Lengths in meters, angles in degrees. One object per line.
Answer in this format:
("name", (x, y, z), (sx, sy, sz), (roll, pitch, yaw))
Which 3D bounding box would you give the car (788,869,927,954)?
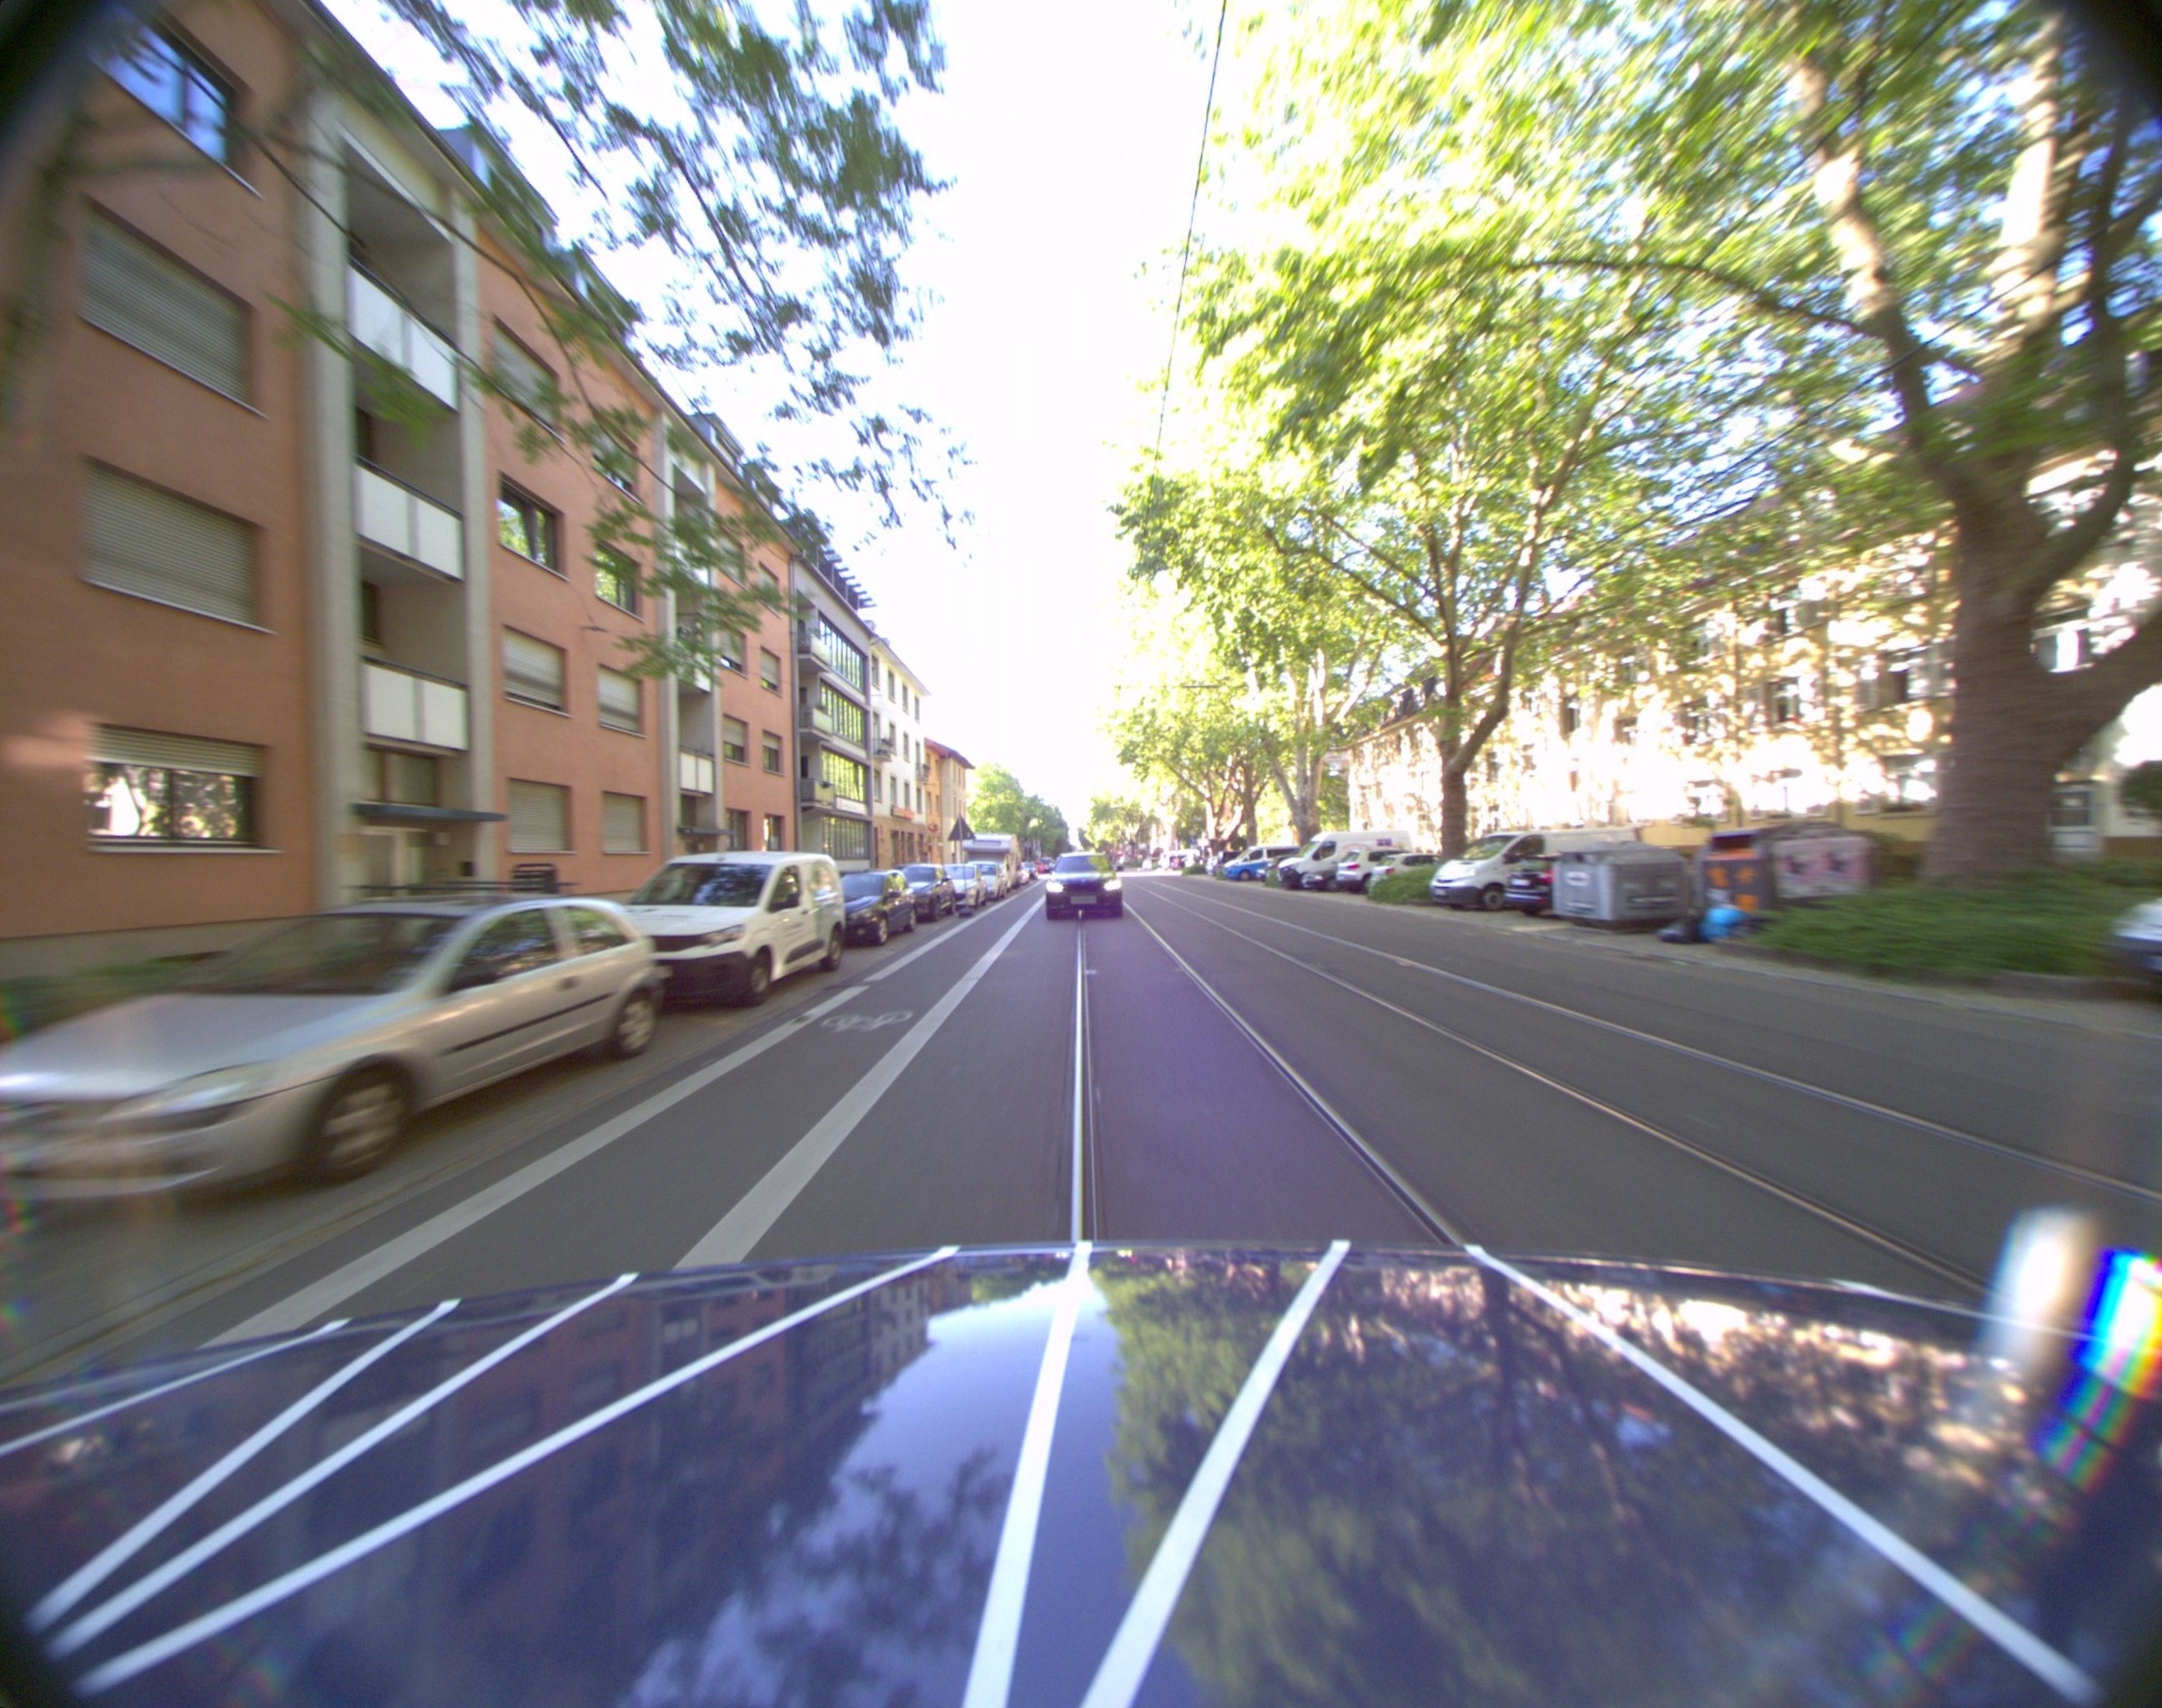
("car", (-4.587, 1.108, 16.245), (1.710, 1.464, 4.168), (-1, 0, 0))

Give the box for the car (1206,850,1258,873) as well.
("car", (11.605, 0.567, 58.531), (3.689, 1.545, 1.704), (-2, 0, 6))

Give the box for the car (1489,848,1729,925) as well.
("car", (11.215, 0.655, 16.363), (3.857, 1.489, 1.862), (-1, 0, 1))

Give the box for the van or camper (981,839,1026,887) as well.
("van or camper", (-4.466, 0.490, 44.513), (2.138, 2.647, 4.979), (0, 0, 0))

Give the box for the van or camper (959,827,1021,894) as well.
("van or camper", (-4.431, 0.291, 38.064), (2.468, 3.046, 6.267), (0, 0, -1))

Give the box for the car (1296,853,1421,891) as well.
("car", (10.839, 0.689, 29.882), (4.275, 1.390, 1.753), (-1, 0, 1))

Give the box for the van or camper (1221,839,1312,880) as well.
("van or camper", (10.972, 0.328, 45.143), (4.832, 2.177, 2.119), (-2, 0, -1))

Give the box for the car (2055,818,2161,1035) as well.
("car", (10.826, 0.510, 5.967), (4.210, 1.747, 1.739), (-2, 0, -2))

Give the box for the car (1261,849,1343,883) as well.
("car", (11.304, 0.617, 39.024), (3.691, 1.556, 1.613), (-2, 0, 2))

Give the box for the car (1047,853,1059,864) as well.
("car", (-4.638, 0.717, 127.550), (1.815, 1.701, 4.372), (0, 0, 0))

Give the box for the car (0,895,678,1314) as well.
("car", (-4.624, 1.131, 5.061), (1.710, 1.464, 4.000), (-1, 0, 0))

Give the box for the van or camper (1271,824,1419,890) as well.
("van or camper", (11.156, 0.117, 32.491), (5.403, 2.501, 2.444), (-2, 0, 0))

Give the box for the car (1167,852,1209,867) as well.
("car", (11.616, 0.624, 82.418), (4.171, 1.506, 1.925), (-2, 0, -1))

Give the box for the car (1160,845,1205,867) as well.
("car", (12.141, 0.290, 90.936), (5.019, 2.383, 2.028), (-2, 0, -1))

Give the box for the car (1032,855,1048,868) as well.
("car", (-4.722, 0.857, 87.669), (1.607, 1.372, 3.864), (0, 0, 0))

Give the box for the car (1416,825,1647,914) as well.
("car", (11.208, 0.368, 19.124), (4.670, 1.934, 1.961), (-2, 0, -3))

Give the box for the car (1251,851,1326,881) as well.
("car", (11.274, 0.645, 41.395), (3.540, 1.451, 1.695), (-2, 0, -6))

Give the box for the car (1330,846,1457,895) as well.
("car", (11.315, 0.595, 27.686), (3.857, 1.653, 1.862), (-1, 0, 1))

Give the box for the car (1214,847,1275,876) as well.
("car", (11.071, 0.491, 51.592), (3.691, 1.804, 1.704), (-2, 0, 0))

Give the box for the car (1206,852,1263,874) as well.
("car", (11.303, 0.633, 56.088), (3.693, 1.477, 1.701), (-2, 0, -6))

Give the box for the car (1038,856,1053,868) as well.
("car", (-4.454, 1.023, 96.827), (1.694, 1.478, 4.143), (0, 0, 0))

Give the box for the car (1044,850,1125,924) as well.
("car", (0.084, 0.802, 21.041), (1.924, 1.741, 4.806), (-2, 0, 0))

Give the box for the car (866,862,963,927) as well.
("car", (-4.535, 1.039, 21.304), (1.772, 1.563, 4.336), (0, 0, 0))

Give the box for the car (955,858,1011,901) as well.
("car", (-4.008, 1.005, 31.660), (1.797, 1.618, 4.276), (0, 0, 0))

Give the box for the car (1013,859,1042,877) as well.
("car", (-4.240, 1.120, 61.122), (1.998, 1.372, 4.739), (0, 0, 0))

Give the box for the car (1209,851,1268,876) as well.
("car", (11.164, 0.636, 53.944), (3.693, 1.615, 1.799), (-2, 0, -5))

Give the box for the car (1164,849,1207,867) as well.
("car", (11.652, 0.437, 85.070), (4.464, 1.755, 2.028), (-2, 0, -1))

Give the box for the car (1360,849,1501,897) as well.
("car", (11.649, 0.615, 25.492), (3.857, 1.489, 1.862), (-1, 0, 1))

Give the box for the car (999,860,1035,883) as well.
("car", (-4.260, 1.144, 51.281), (1.998, 1.485, 4.740), (0, 0, 1))

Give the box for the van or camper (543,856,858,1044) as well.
("van or camper", (-4.535, 0.967, 10.063), (1.759, 1.853, 4.829), (-1, 0, -1))

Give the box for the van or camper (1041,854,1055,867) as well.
("van or camper", (-4.855, 0.914, 111.520), (1.882, 1.873, 4.922), (0, 0, 0))

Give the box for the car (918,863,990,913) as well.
("car", (-4.221, 1.085, 25.797), (1.793, 1.513, 4.321), (0, 0, -1))

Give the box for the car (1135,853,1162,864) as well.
("car", (10.736, 0.759, 120.719), (3.966, 1.506, 1.810), (-2, 0, -1))
